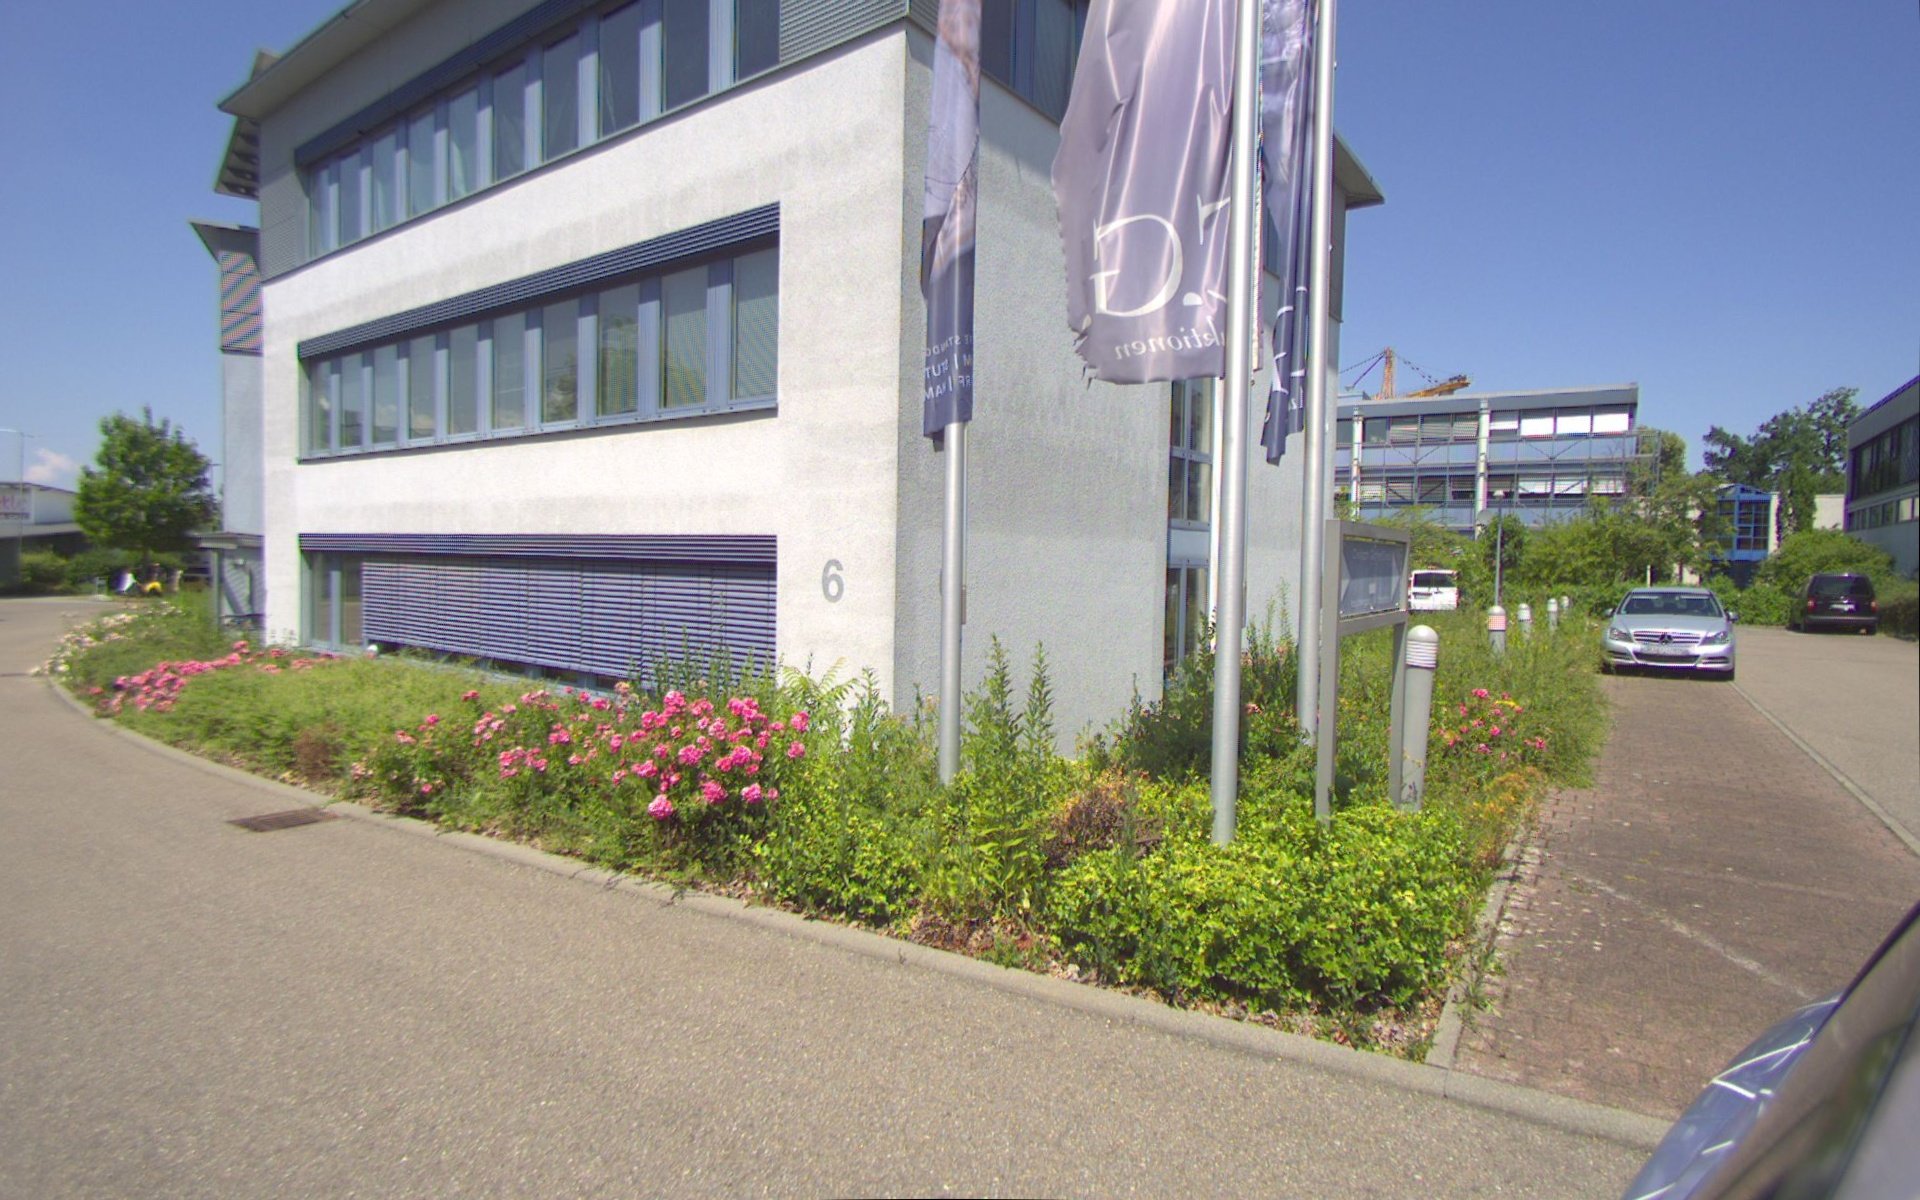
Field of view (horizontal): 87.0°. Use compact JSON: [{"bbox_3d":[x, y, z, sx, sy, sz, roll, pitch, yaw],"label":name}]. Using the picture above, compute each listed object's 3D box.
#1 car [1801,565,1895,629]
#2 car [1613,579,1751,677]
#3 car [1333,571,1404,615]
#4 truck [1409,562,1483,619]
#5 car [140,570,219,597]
[{"bbox_3d":[27.342,-0.161,31.274,1.778,1.826,3.950,1,2,35],"label":"car"},{"bbox_3d":[12.180,0.369,17.046,1.703,1.408,3.760,2,2,37],"label":"car"},{"bbox_3d":[15.777,-0.323,38.991,1.776,1.565,3.952,1,2,34],"label":"car"},{"bbox_3d":[17.731,-0.383,36.820,1.985,1.917,3.955,1,2,32],"label":"truck"},{"bbox_3d":[-43.434,-0.929,56.389,3.152,1.460,1.590,0,1,-2],"label":"car"}]
